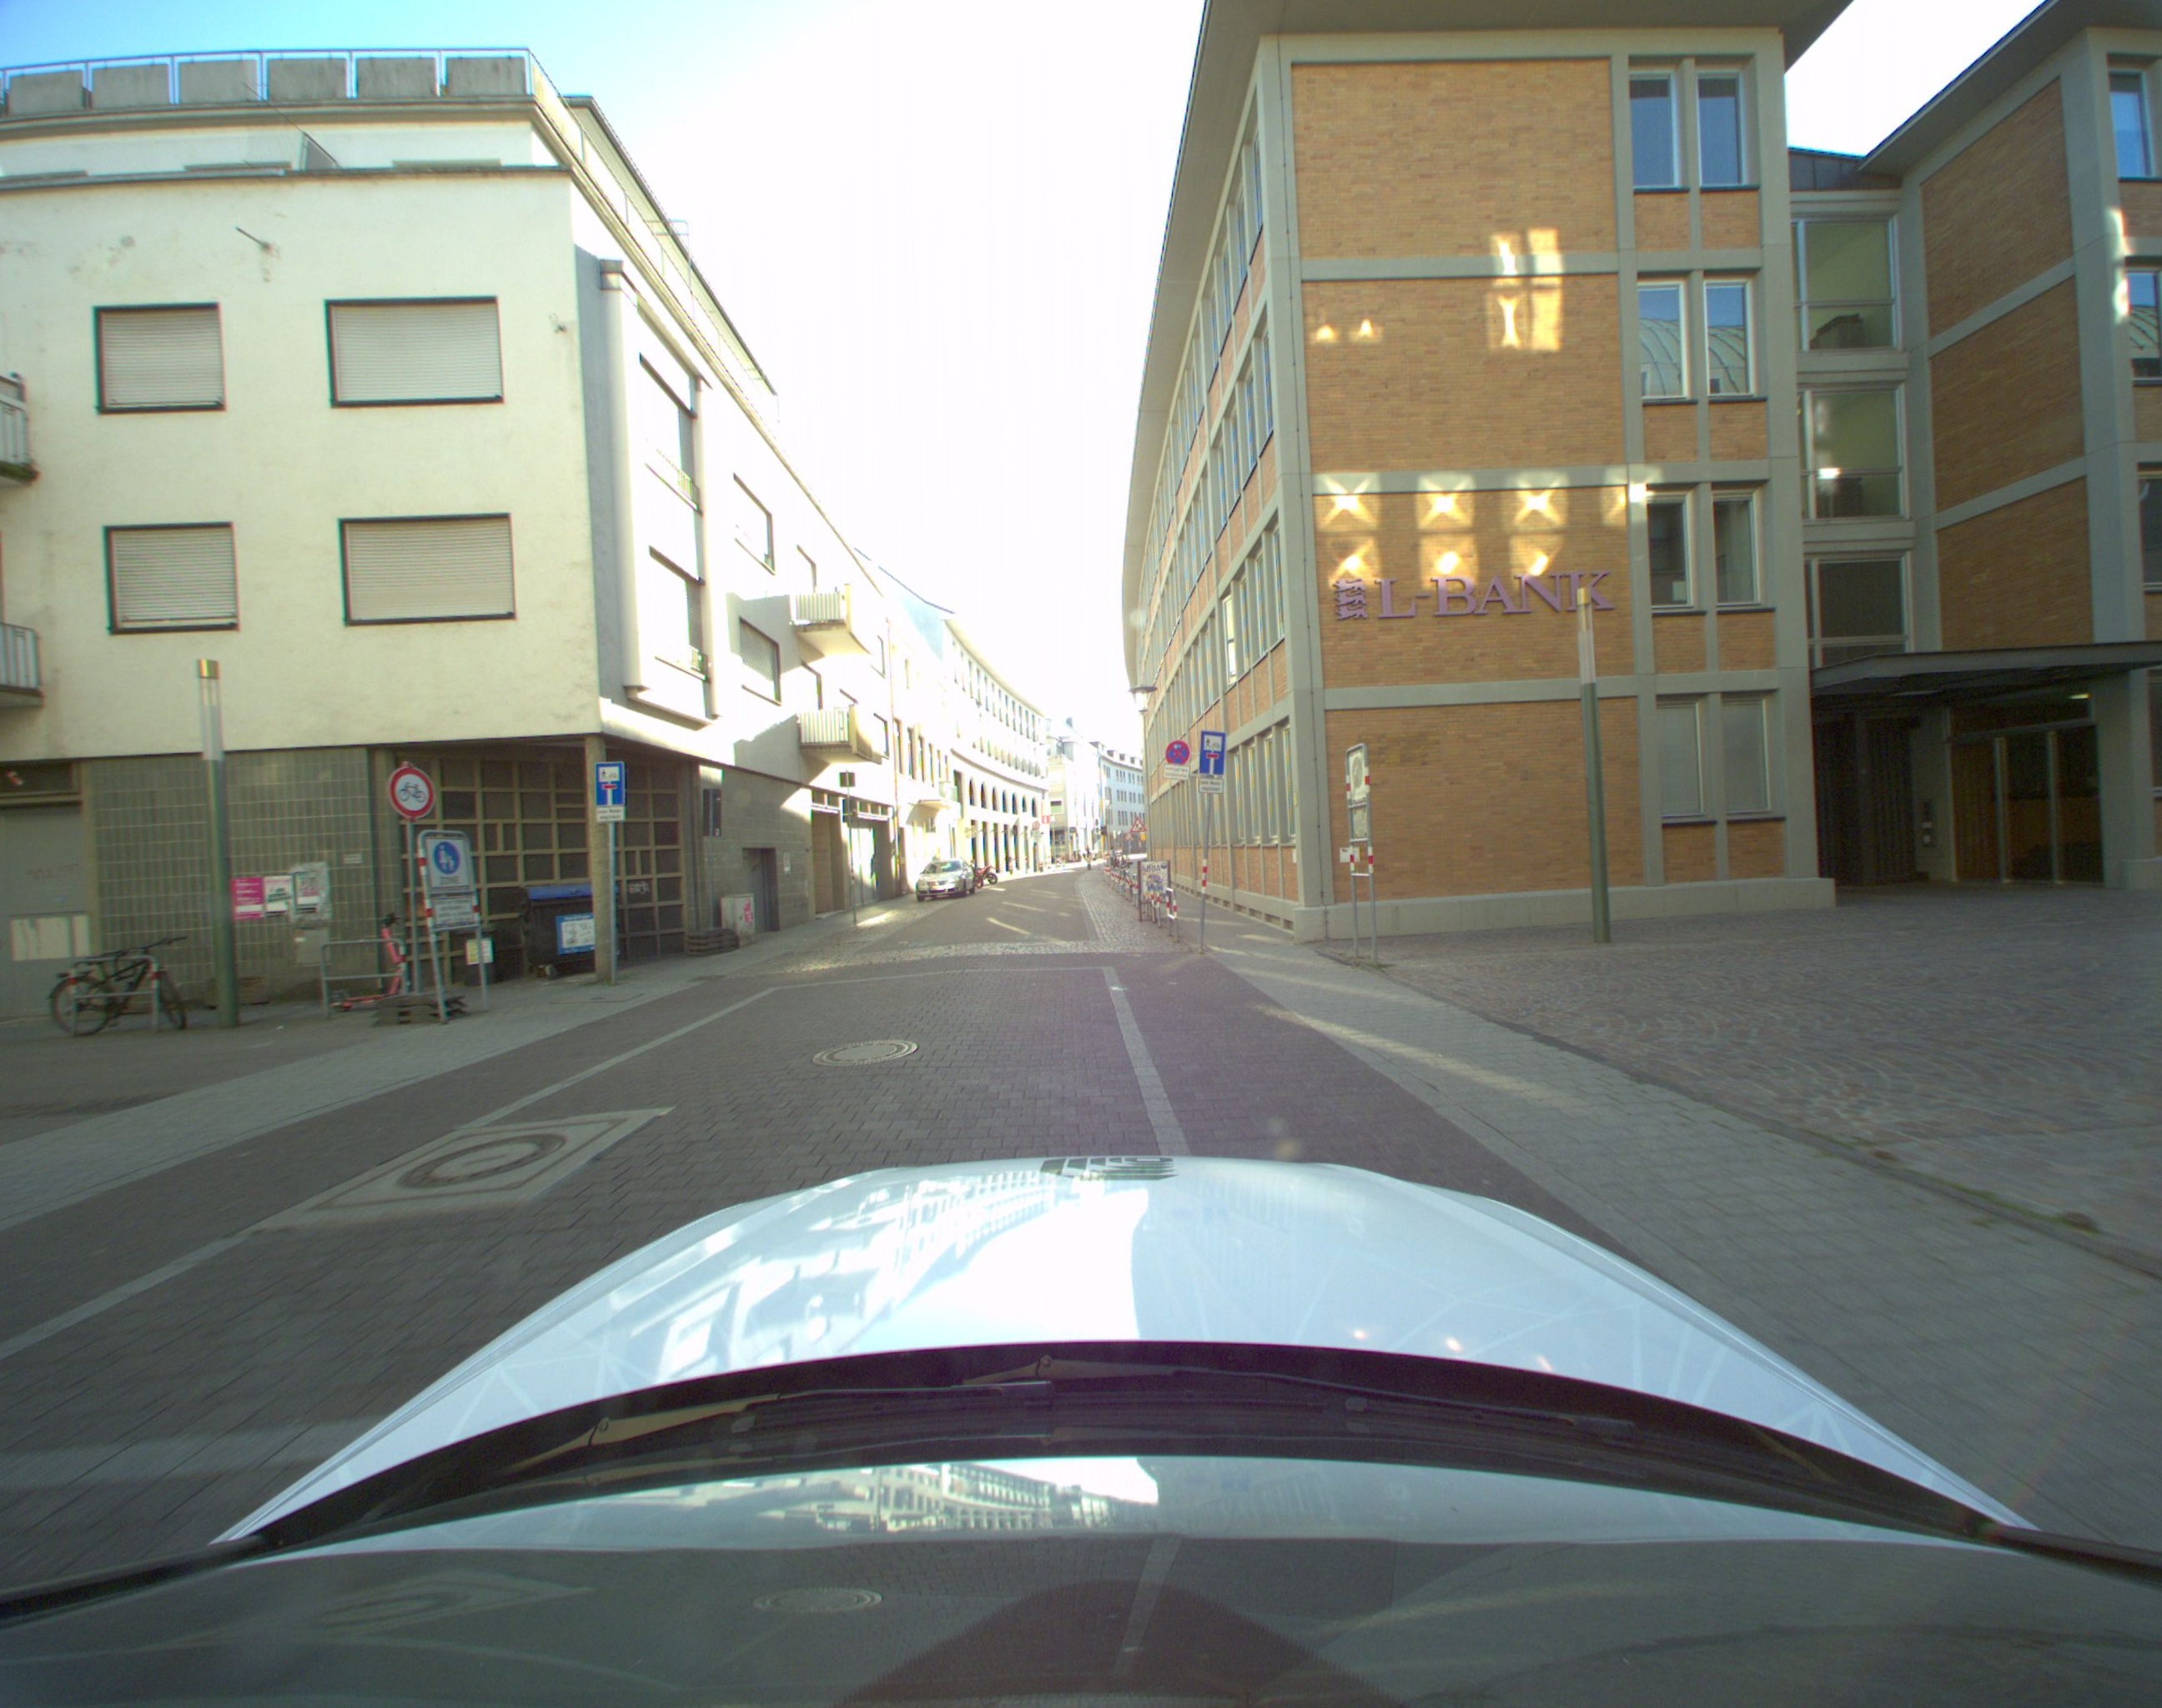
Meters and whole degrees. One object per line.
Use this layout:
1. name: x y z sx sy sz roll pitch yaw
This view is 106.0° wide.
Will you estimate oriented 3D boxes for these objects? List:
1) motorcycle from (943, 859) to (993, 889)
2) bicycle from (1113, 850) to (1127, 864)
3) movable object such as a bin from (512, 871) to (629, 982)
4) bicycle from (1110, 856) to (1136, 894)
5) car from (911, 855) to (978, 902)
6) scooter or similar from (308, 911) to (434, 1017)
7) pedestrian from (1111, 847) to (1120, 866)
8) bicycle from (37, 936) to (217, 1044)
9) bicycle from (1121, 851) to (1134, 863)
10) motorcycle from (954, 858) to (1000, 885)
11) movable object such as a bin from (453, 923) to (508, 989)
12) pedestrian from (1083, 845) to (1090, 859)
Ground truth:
1. motorcycle: -5.250 0.936 37.911 2.187 1.245 0.577 -4 0 19
2. bicycle: 3.302 0.228 68.797 0.923 1.047 3.374 -3 1 7
3. movable object such as a bin: -8.216 1.107 13.108 1.141 1.589 1.299 -1 1 44
4. bicycle: 1.326 0.660 25.876 0.634 1.116 1.929 -3 0 -2
5. car: -5.057 0.863 30.571 1.760 1.470 3.812 -5 1 0
6. scooter or similar: -9.223 1.414 10.592 1.233 1.252 0.307 -3 0 -5
7. pedestrian: 2.703 0.179 64.001 0.655 1.441 0.596 -3 0 1
8. bicycle: -11.677 1.654 9.985 1.697 1.139 0.448 -4 0 3
9. bicycle: 4.223 0.237 73.548 0.923 0.960 3.374 -3 1 7
10. motorcycle: -5.357 0.918 41.872 2.263 1.245 0.577 -4 0 19
11. movable object such as a bin: -9.220 1.549 12.495 0.507 0.923 0.545 -2 1 42
12. pedestrian: 0.592 -0.271 91.385 0.655 1.528 0.482 -3 0 1
